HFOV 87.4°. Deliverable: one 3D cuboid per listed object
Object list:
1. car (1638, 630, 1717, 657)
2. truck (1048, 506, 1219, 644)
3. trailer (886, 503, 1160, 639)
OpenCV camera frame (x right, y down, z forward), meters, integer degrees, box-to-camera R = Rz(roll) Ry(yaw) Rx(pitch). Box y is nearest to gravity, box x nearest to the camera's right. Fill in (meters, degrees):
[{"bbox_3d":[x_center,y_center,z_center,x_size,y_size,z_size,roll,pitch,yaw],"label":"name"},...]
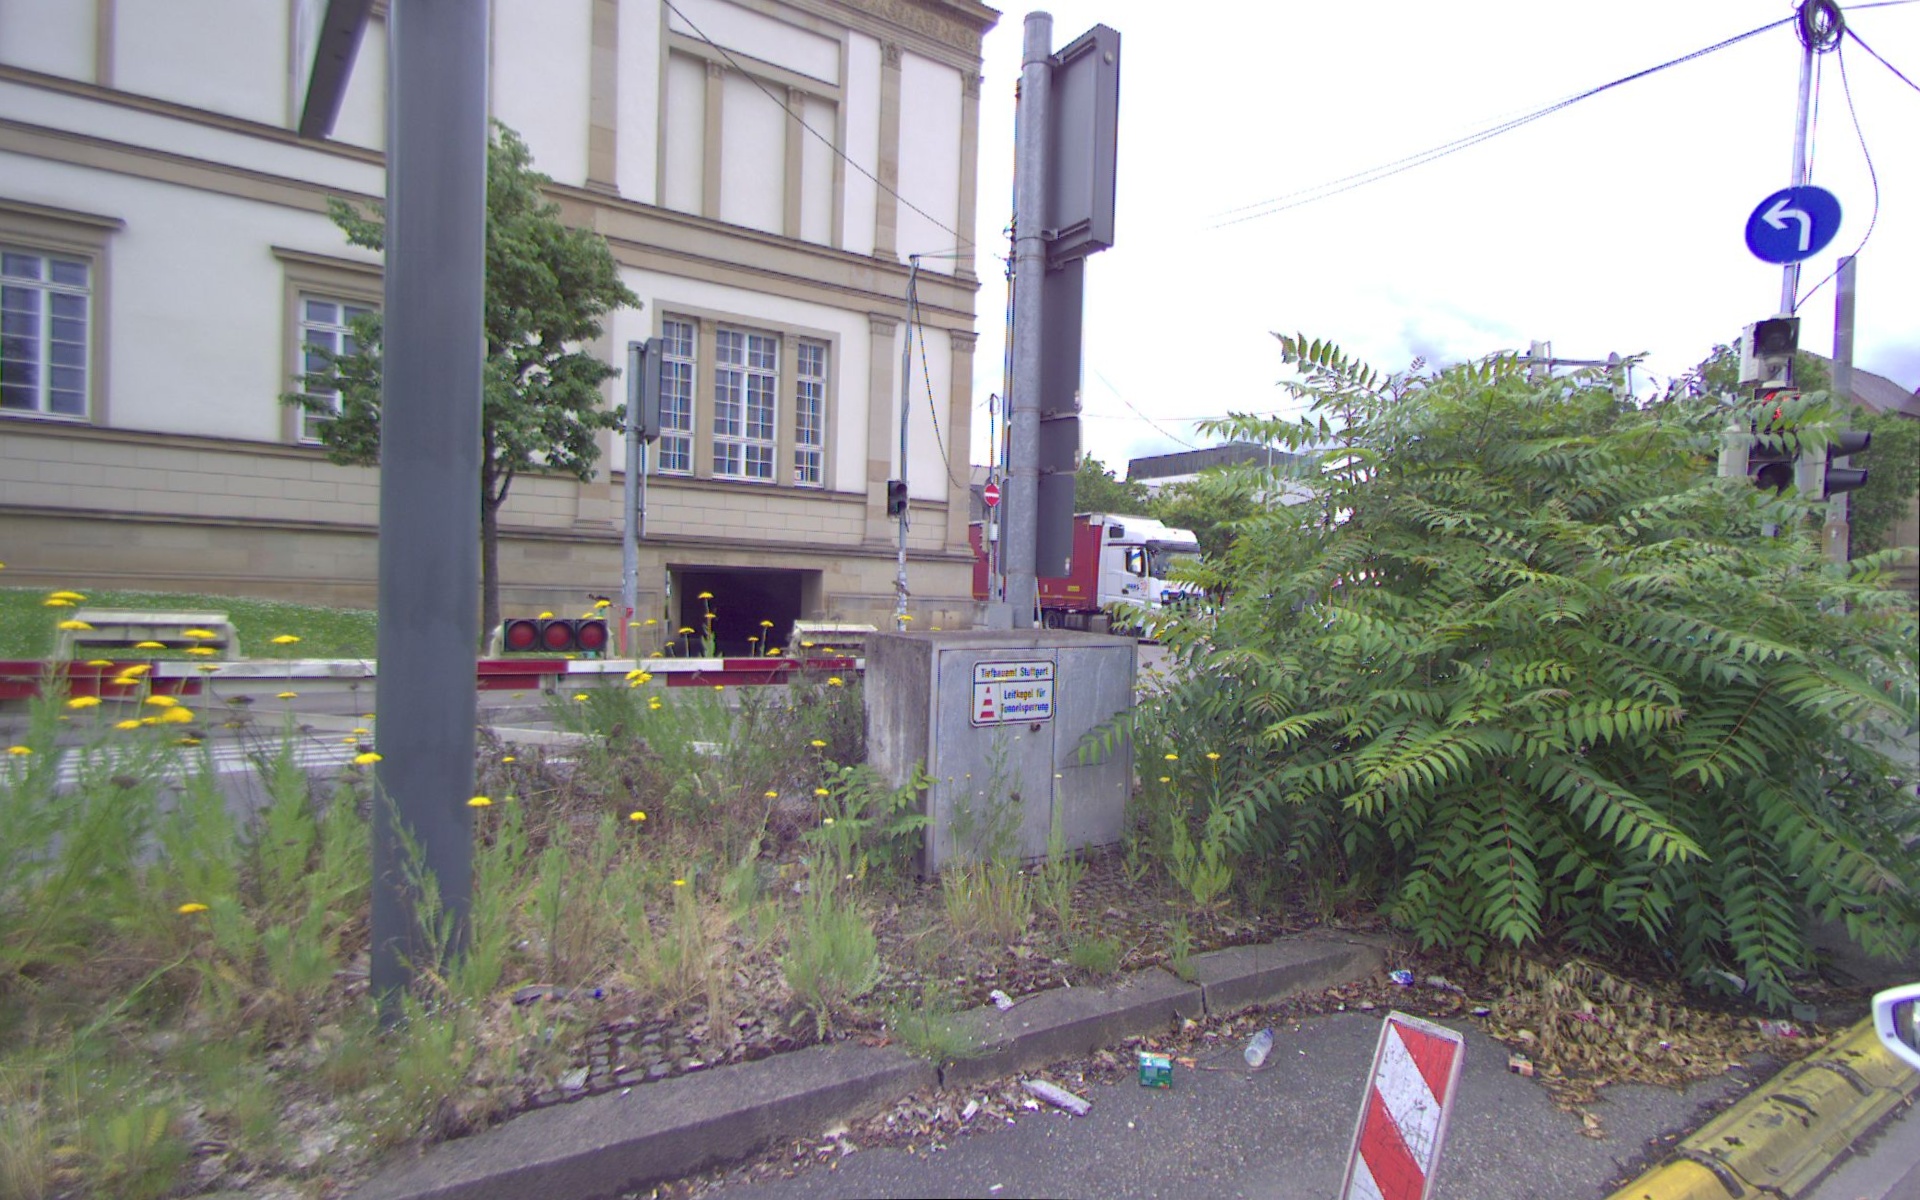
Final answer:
[{"bbox_3d":[43.199,2.612,60.569,3.615,1.417,1.679,2,0,27],"label":"car"},{"bbox_3d":[5.575,-0.733,32.818,2.915,4.118,4.846,2,0,-34],"label":"truck"},{"bbox_3d":[1.762,-0.969,38.732,2.916,4.338,13.662,2,0,-33],"label":"trailer"}]
